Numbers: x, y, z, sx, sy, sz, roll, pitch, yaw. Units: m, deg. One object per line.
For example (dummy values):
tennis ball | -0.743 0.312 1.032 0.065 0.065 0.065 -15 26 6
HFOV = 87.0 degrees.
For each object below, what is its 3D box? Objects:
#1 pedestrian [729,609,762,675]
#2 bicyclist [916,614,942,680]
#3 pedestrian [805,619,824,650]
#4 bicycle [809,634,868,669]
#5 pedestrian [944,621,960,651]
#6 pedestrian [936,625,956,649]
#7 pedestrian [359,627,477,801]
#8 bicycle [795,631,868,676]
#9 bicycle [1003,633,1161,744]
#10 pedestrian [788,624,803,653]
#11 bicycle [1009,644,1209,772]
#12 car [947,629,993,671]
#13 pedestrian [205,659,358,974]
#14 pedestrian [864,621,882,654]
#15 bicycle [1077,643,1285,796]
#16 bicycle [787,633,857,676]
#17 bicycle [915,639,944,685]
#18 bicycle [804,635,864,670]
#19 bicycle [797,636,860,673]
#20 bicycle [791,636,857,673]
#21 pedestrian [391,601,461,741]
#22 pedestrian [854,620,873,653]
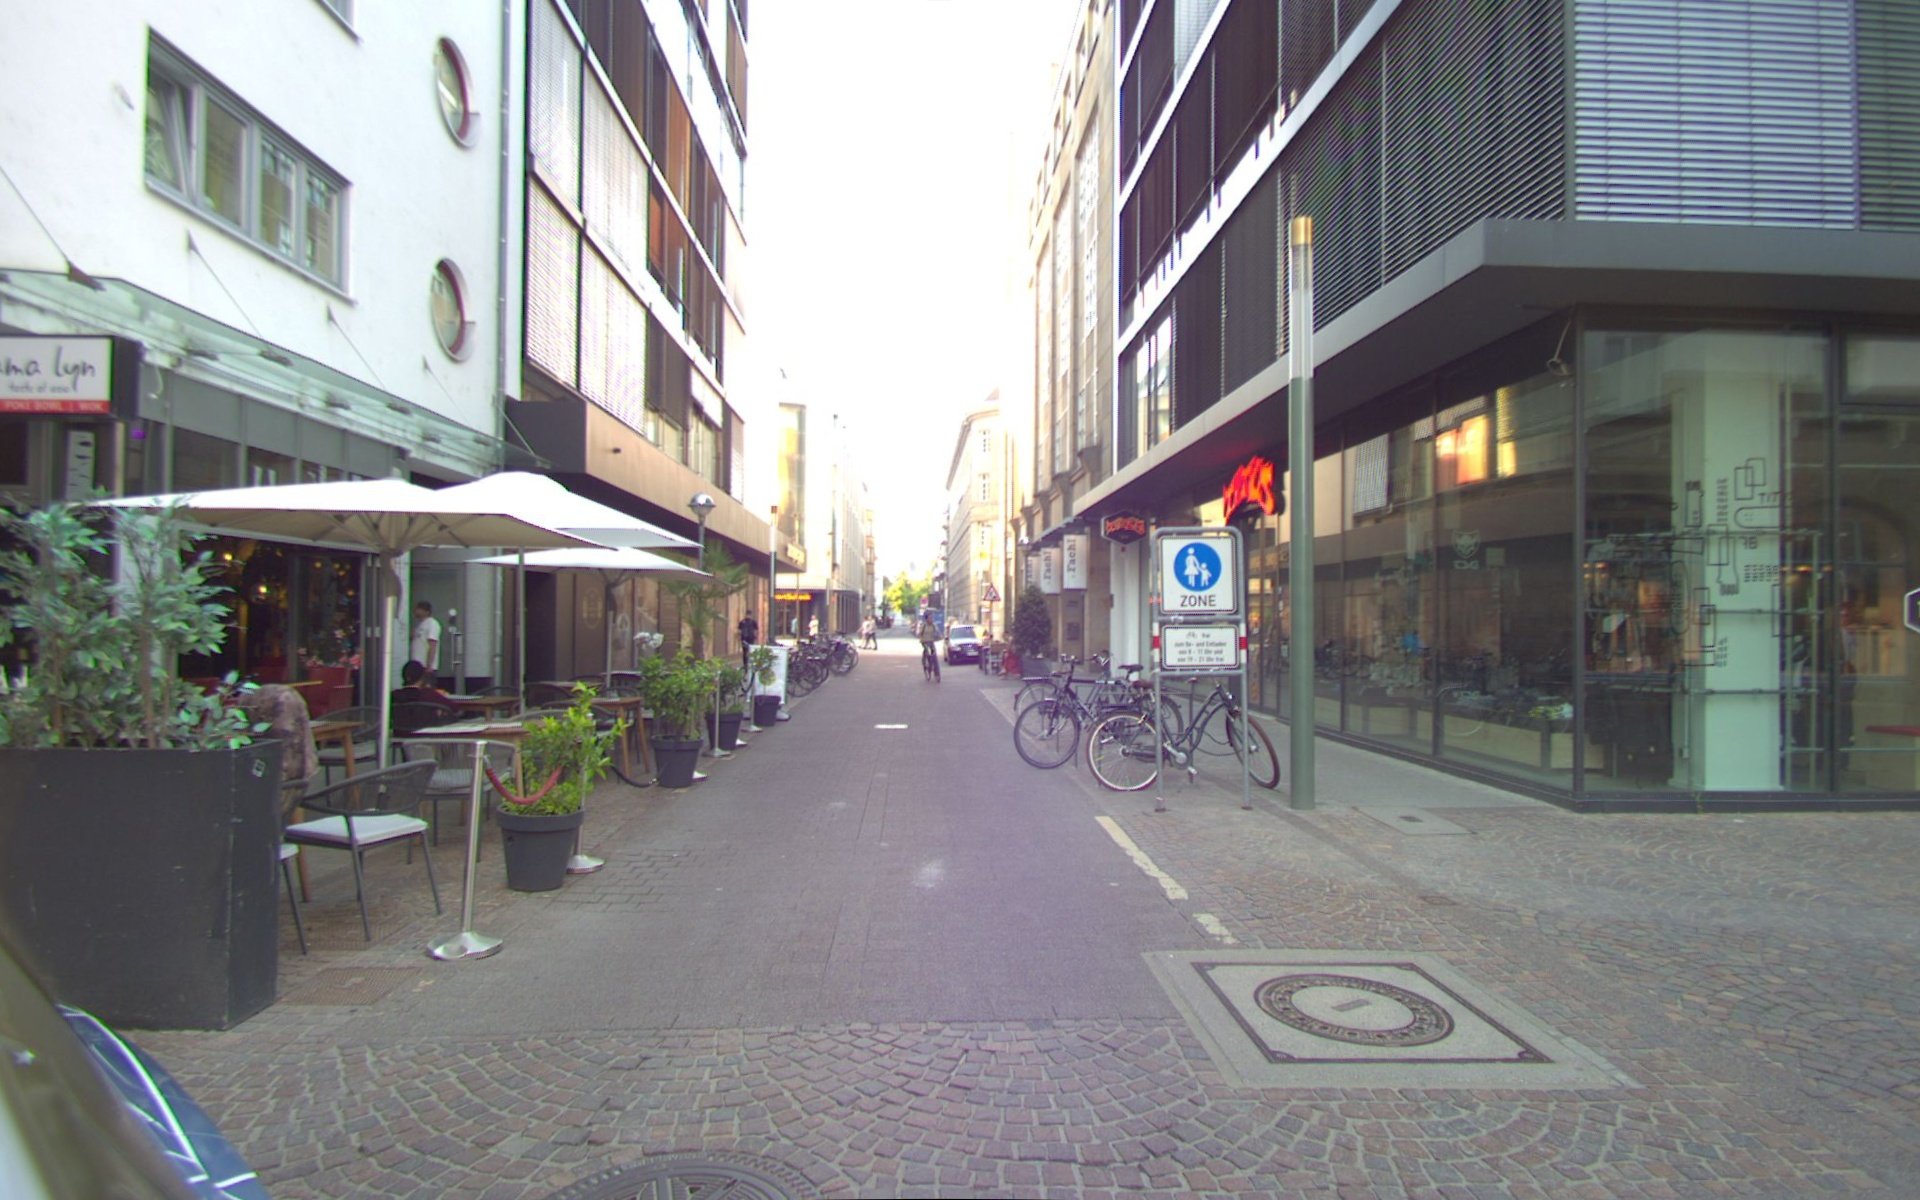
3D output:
pedestrian | -6.053 1.179 28.619 0.793 1.850 0.675 0 -2 -1
bicyclist | -0.817 1.228 26.612 0.666 1.683 0.870 0 -2 -3
pedestrian | -7.835 1.846 54.459 0.782 1.633 0.627 0 -1 39
bicycle | -4.259 1.799 35.442 2.010 1.225 0.619 0 -1 -3
pedestrian | -0.426 1.988 55.925 0.757 1.650 0.666 0 -1 10
pedestrian | -0.917 2.440 67.321 0.919 1.584 0.979 -1 -2 41
pedestrian | -4.682 0.955 8.794 0.567 1.431 0.868 0 -1 -2
bicycle | -3.716 1.550 29.308 2.010 1.176 0.666 3 -2 -3
bicycle | 1.544 1.120 12.965 1.876 1.279 0.538 -3 -1 -2
pedestrian | -8.751 2.044 53.887 0.627 1.536 0.782 1 -1 3
bicycle | 1.479 1.070 10.211 1.875 1.190 0.518 -2 -3 -3
car | 0.382 1.809 37.177 1.582 1.434 3.602 0 -1 1
pedestrian | -2.813 0.867 4.222 0.394 1.223 0.384 1 -2 -12
pedestrian | -4.367 1.857 50.699 0.631 1.633 0.778 0 -1 20
bicycle | 1.895 1.014 8.787 1.646 1.213 0.509 -2 -2 -3
bicycle | -4.185 1.639 30.744 2.010 1.176 0.619 3 -2 -3
bicycle | -0.822 1.606 26.650 0.689 1.137 2.006 0 -2 -4
bicycle | -4.279 1.782 34.461 2.010 1.176 0.619 0 -1 -3
bicycle | -4.284 1.769 33.117 2.010 1.176 0.619 0 -1 -3
bicycle | -4.297 1.720 32.015 2.010 1.176 0.619 0 -1 -3
pedestrian | -6.981 0.913 13.253 0.630 1.785 0.603 0 -2 -7
pedestrian | -4.919 1.834 51.346 0.769 1.633 0.638 1 -1 -26
